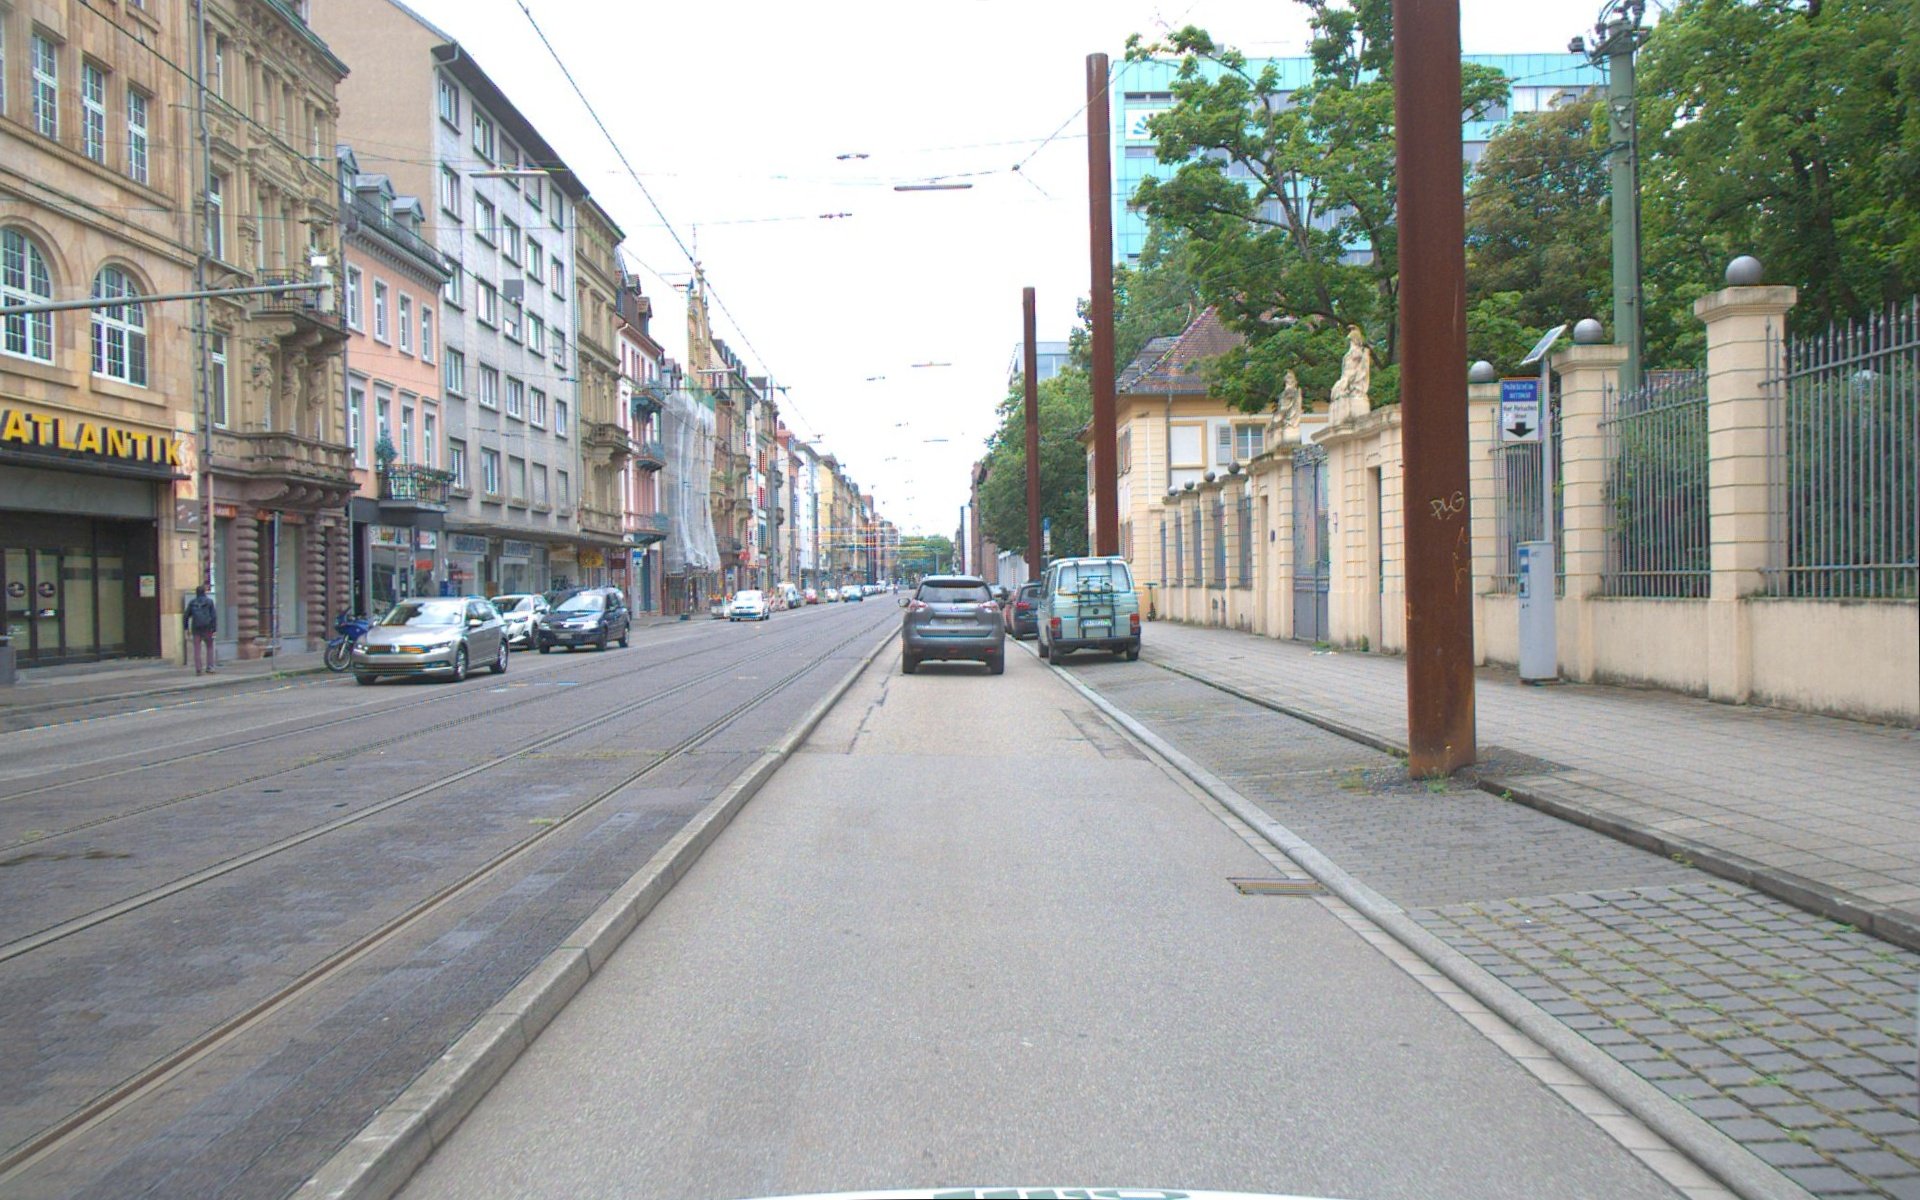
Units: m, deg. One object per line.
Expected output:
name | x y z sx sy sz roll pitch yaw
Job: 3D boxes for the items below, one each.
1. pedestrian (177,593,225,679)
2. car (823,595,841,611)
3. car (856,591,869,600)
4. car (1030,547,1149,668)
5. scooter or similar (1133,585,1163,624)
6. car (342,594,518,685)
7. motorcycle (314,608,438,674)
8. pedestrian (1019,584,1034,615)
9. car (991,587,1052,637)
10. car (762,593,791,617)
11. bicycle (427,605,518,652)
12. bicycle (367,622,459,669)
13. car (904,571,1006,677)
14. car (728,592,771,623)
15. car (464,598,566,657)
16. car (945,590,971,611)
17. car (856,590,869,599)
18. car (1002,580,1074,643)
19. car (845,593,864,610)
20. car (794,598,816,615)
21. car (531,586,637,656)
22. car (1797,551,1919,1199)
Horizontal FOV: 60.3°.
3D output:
pedestrian | -14.495 0.678 31.599 0.556 1.626 0.718 -1 0 -1
car | -14.235 0.322 183.780 1.954 1.663 3.996 -1 -1 -4
car | -15.199 -0.723 258.784 1.954 1.288 3.996 -1 -1 -4
car | 2.537 0.127 33.547 1.814 2.151 4.983 -4 0 -1
scooter or similar | 6.266 0.159 55.332 0.731 1.272 1.918 -1 -1 -1
car | -9.487 0.649 29.974 1.723 1.474 4.613 -1 0 -1
motorcycle | -12.443 0.858 35.275 2.319 1.325 0.872 -1 0 -38
pedestrian | 4.239 -0.016 105.515 0.892 1.919 0.846 -1 -1 -1
car | 1.980 0.367 54.350 1.714 1.466 3.923 -4 0 -1
car | -13.527 0.379 122.300 1.954 1.736 3.996 -1 -1 -4
bicycle | -12.704 0.734 43.116 2.189 1.146 0.503 -1 0 -9
bicycle | -12.522 1.041 37.911 1.929 1.018 0.462 -1 0 -9
car | -0.120 0.401 29.912 1.714 1.786 3.923 0 0 -1
car | -10.262 0.348 80.888 1.653 1.445 4.134 -1 0 -1
car | -12.536 0.752 46.816 1.740 1.531 4.401 -1 0 -1
car | -0.161 0.022 114.893 1.740 1.445 4.134 -1 0 -1
car | -14.902 -0.804 252.483 1.954 1.288 3.996 -1 -1 -4
car | 2.202 0.307 47.595 1.714 1.623 3.923 -4 0 -1
car | -10.822 0.154 169.293 1.954 1.663 3.996 -1 -1 -4
car | -14.286 0.617 152.772 1.954 1.490 3.996 -1 -1 -4
car | -9.777 0.515 43.349 1.723 1.701 4.613 -1 0 -1
car | 2.915 0.661 1.955 1.720 1.601 3.930 -3 0 -1
